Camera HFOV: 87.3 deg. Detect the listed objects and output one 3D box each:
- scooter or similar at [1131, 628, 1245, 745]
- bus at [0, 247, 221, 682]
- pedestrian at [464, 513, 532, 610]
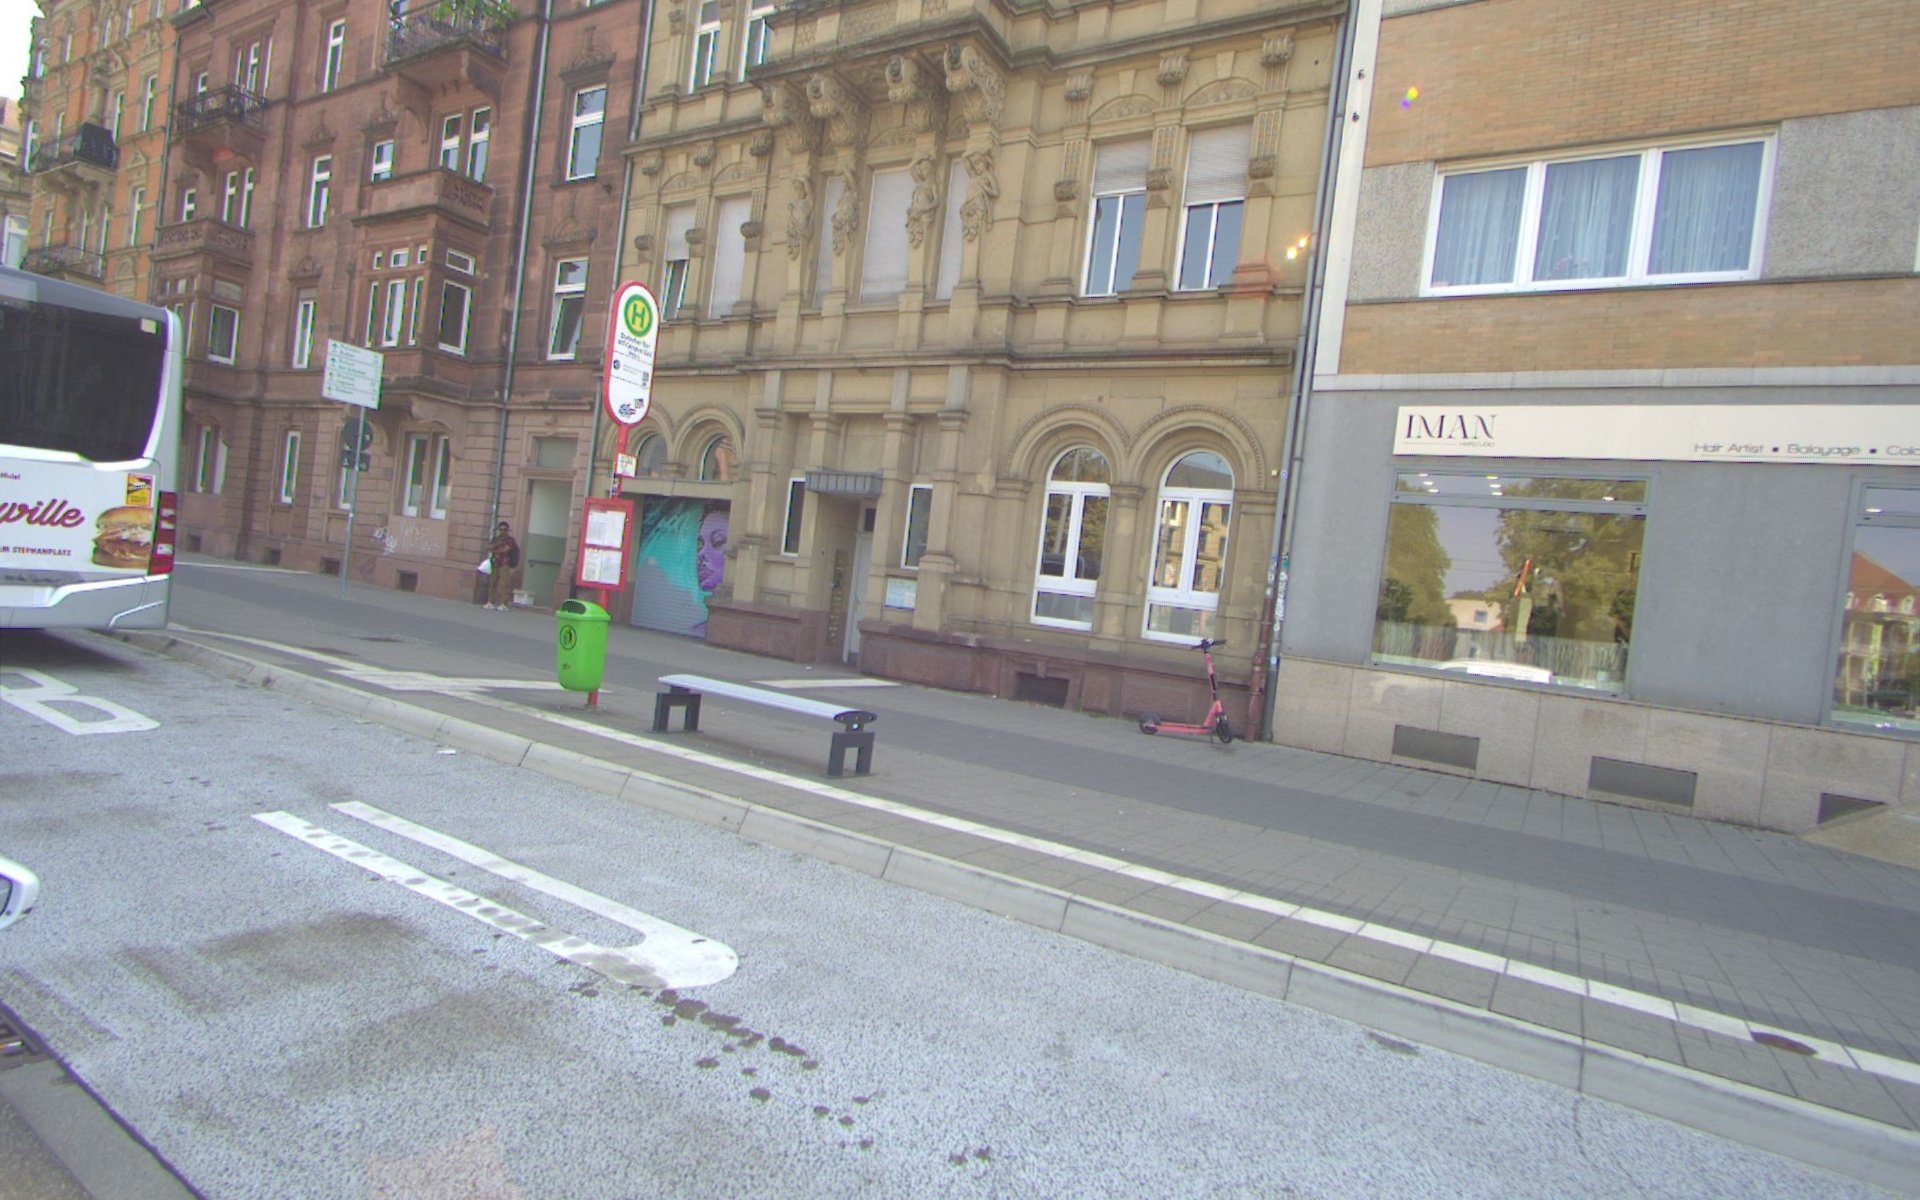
[{"bbox_3d":[2.728,1.018,12.072,1.122,1.228,0.476,7,1,27],"label":"scooter or similar"},{"bbox_3d":[-11.908,-1.547,10.523,11.761,3.149,2.742,7,3,33],"label":"bus"},{"bbox_3d":[-9.225,-0.749,20.103,0.729,1.800,0.870,7,1,4],"label":"pedestrian"}]
